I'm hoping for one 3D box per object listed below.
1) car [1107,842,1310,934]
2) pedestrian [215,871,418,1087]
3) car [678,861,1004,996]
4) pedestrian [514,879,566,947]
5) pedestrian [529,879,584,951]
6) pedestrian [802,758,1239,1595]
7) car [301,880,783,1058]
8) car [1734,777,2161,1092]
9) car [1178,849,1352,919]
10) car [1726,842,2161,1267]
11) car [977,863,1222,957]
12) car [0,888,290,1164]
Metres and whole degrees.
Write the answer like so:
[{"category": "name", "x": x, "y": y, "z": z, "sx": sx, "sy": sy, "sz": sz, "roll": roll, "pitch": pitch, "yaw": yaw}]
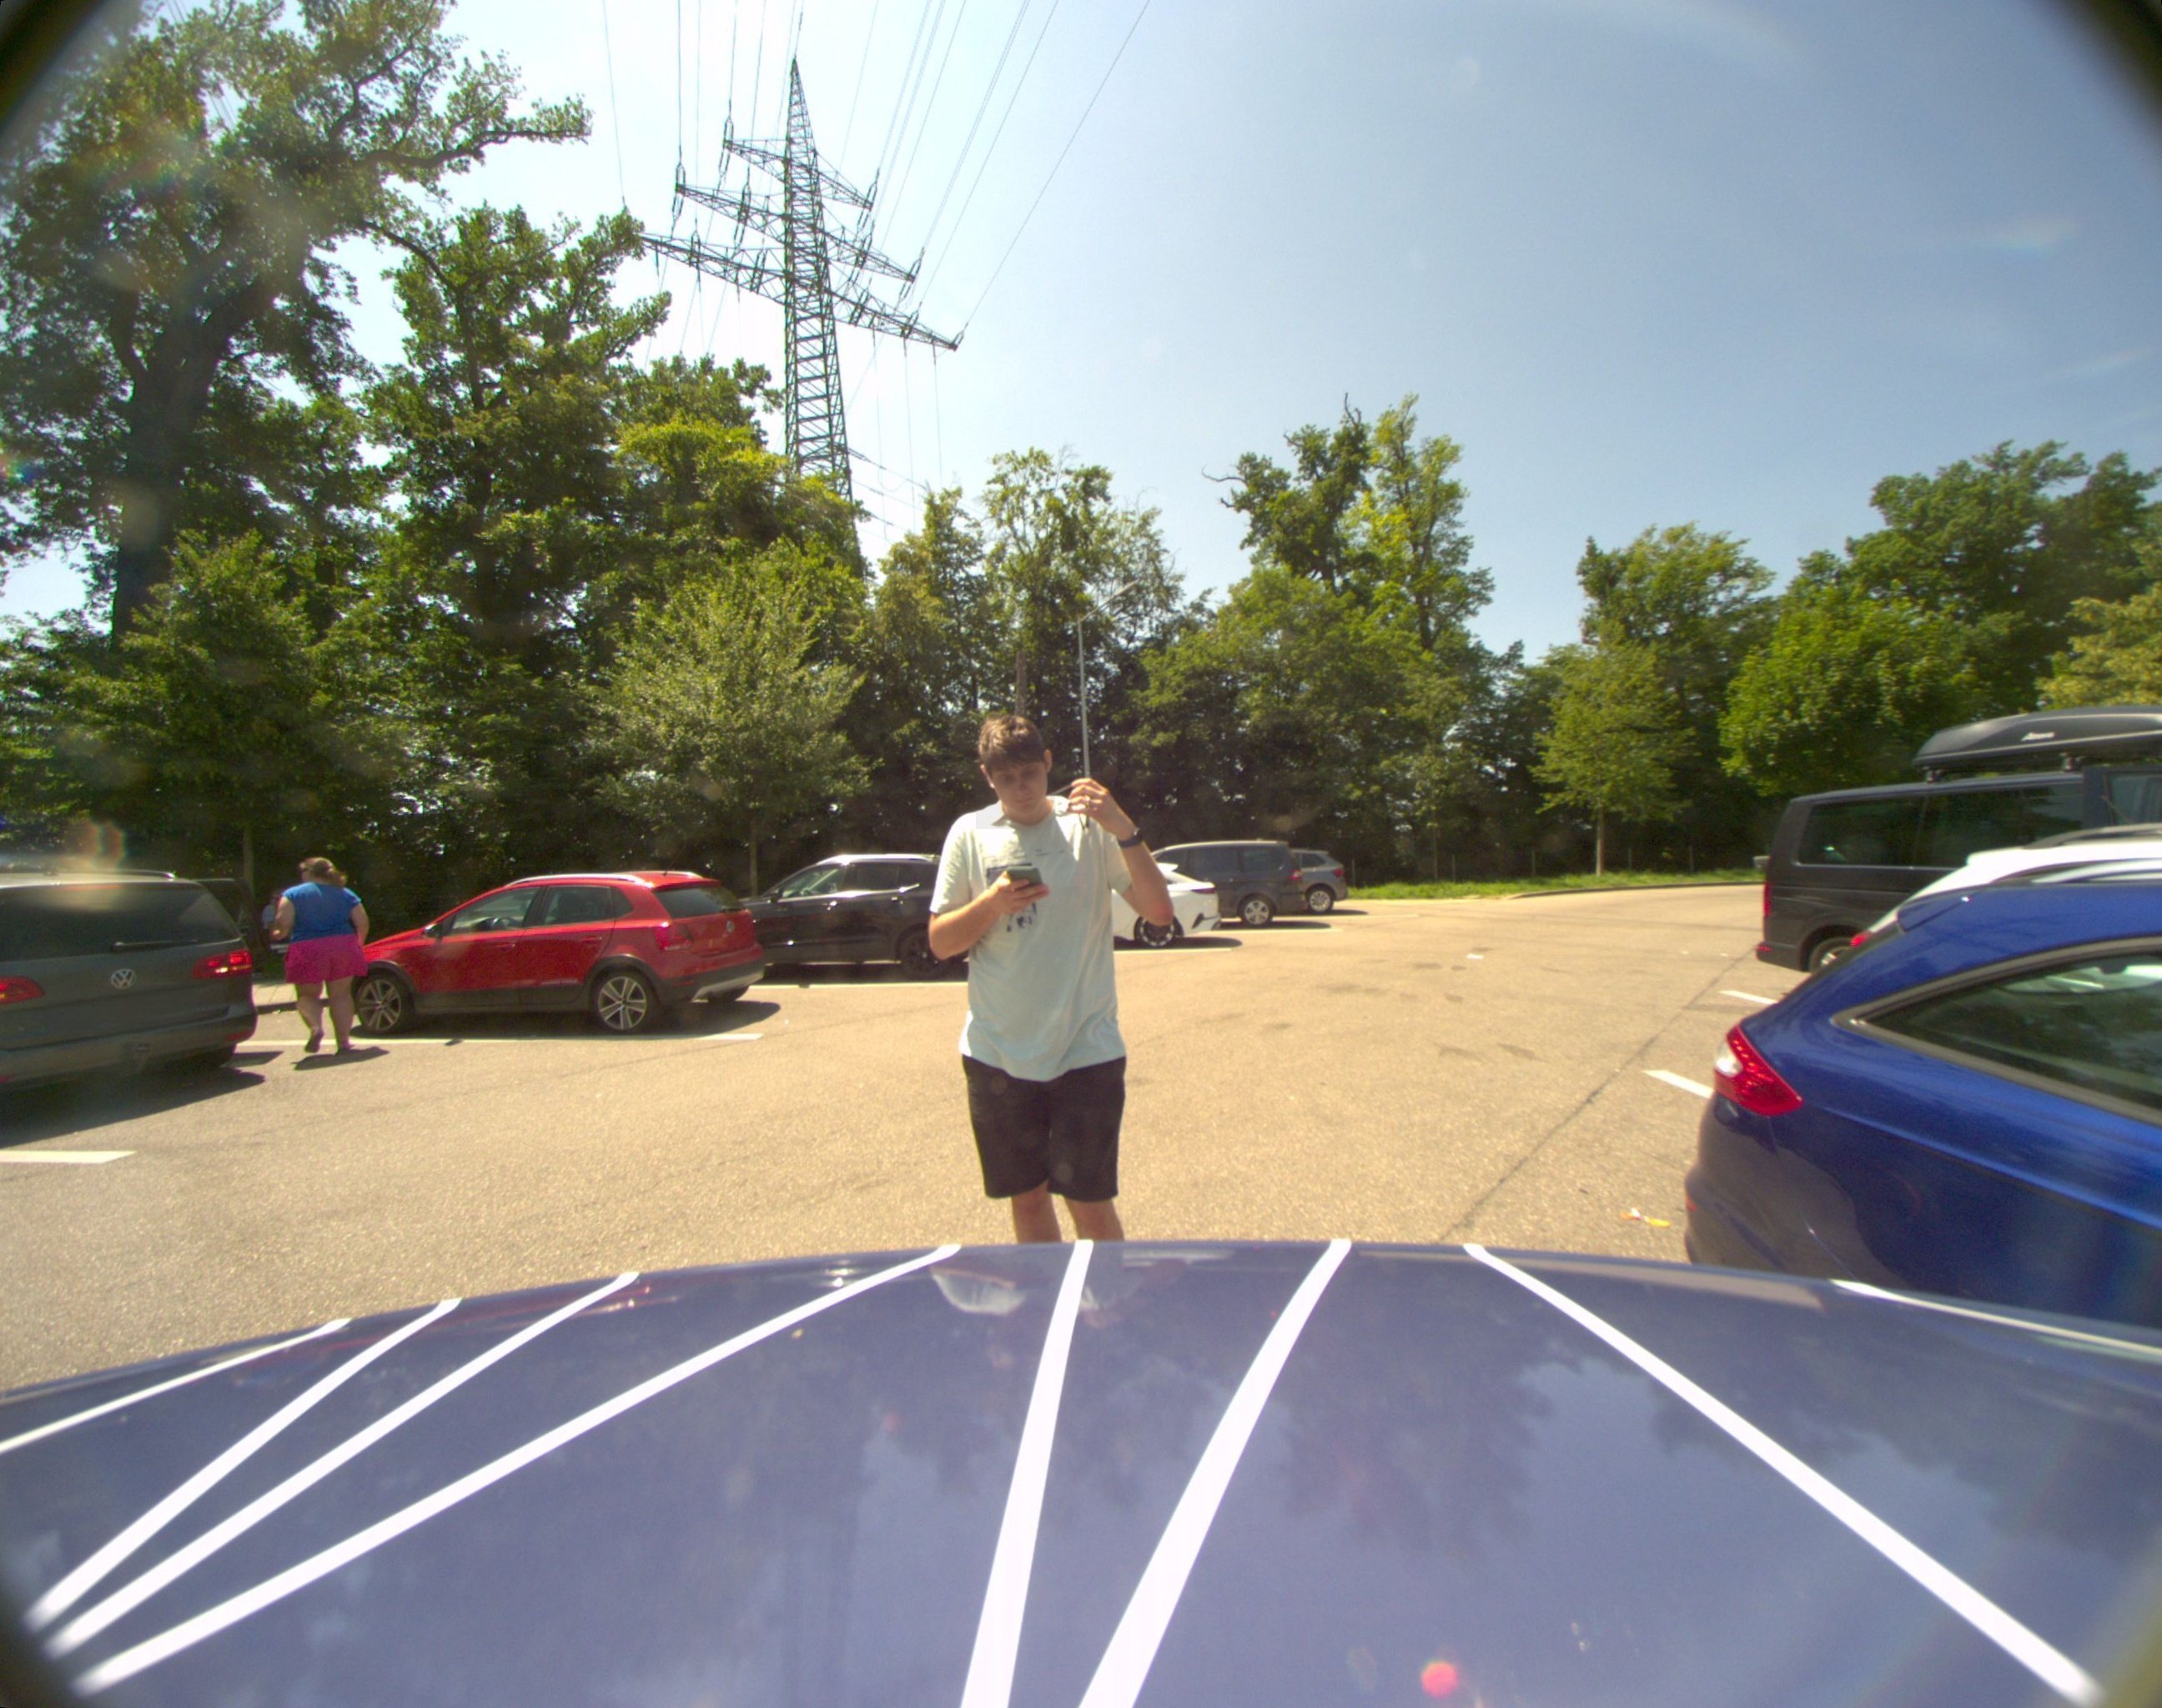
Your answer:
[{"category": "car", "x": 2.581, "y": 0.667, "z": 15.457, "sx": 3.818, "sy": 1.714, "sz": 1.722, "roll": -1, "pitch": 1, "yaw": 12}, {"category": "pedestrian", "x": -6.520, "y": 1.007, "z": 6.525, "sx": 0.732, "sy": 1.672, "sz": 0.921, "roll": -2, "pitch": 1, "yaw": 17}, {"category": "car", "x": -3.073, "y": 0.935, "z": 10.265, "sx": 3.787, "sy": 1.564, "sz": 1.721, "roll": -1, "pitch": 1, "yaw": 2}, {"category": "pedestrian", "x": -10.915, "y": 1.162, "z": 15.319, "sx": 0.782, "sy": 1.287, "sz": 0.670, "roll": -1, "pitch": 2, "yaw": 45}, {"category": "pedestrian", "x": -10.009, "y": 1.136, "z": 14.507, "sx": 0.782, "sy": 1.287, "sz": 0.670, "roll": -1, "pitch": 2, "yaw": 45}, {"category": "pedestrian", "x": -0.124, "y": 0.720, "z": 1.984, "sx": 0.890, "sy": 1.831, "sz": 0.622, "roll": -2, "pitch": 1, "yaw": 1}, {"category": "car", "x": -5.246, "y": 1.063, "z": 7.654, "sx": 3.785, "sy": 1.457, "sz": 1.722, "roll": -1, "pitch": 1, "yaw": 9}, {"category": "car", "x": 7.314, "y": 0.435, "z": 4.917, "sx": 1.961, "sy": 1.858, "sz": 4.642, "roll": -3, "pitch": -1, "yaw": -3}, {"category": "car", "x": 4.333, "y": 0.691, "z": 18.159, "sx": 3.818, "sy": 1.530, "sz": 1.722, "roll": -1, "pitch": 1, "yaw": 12}, {"category": "car", "x": 4.867, "y": 0.723, "z": 2.288, "sx": 1.741, "sy": 1.524, "sz": 4.642, "roll": -3, "pitch": -1, "yaw": -2}, {"category": "car", "x": 0.357, "y": 0.899, "z": 12.731, "sx": 3.819, "sy": 1.377, "sz": 1.722, "roll": -1, "pitch": 1, "yaw": 6}, {"category": "car", "x": -8.298, "y": 1.103, "z": 5.445, "sx": 3.985, "sy": 1.572, "sz": 1.749, "roll": -1, "pitch": 1, "yaw": 12}]
